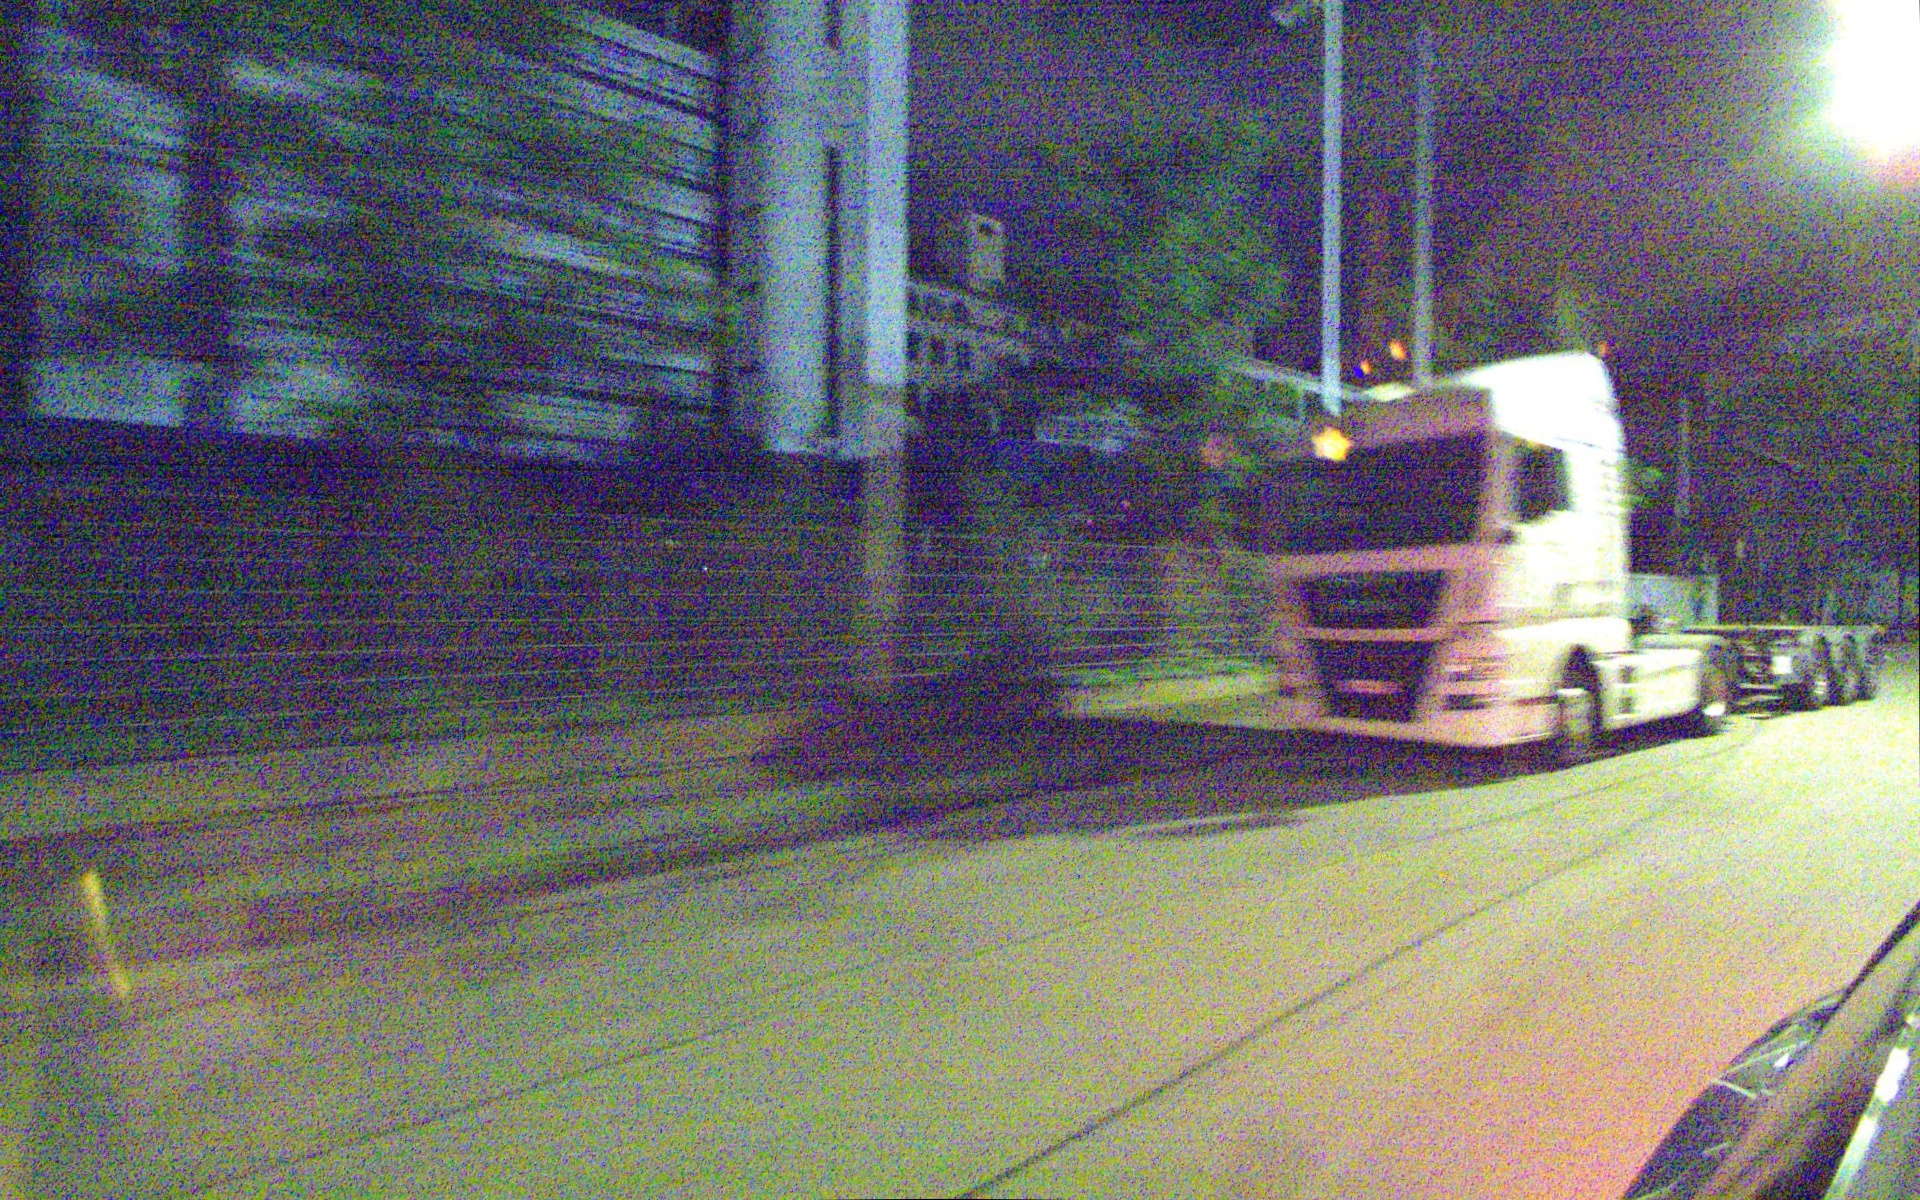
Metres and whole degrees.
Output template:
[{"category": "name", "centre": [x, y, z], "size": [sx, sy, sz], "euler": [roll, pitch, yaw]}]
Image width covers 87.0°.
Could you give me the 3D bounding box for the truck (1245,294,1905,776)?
[{"category": "truck", "centre": [8.646, -0.595, 12.832], "size": [12.420, 3.886, 2.517], "euler": [-1, 0, -36]}]
